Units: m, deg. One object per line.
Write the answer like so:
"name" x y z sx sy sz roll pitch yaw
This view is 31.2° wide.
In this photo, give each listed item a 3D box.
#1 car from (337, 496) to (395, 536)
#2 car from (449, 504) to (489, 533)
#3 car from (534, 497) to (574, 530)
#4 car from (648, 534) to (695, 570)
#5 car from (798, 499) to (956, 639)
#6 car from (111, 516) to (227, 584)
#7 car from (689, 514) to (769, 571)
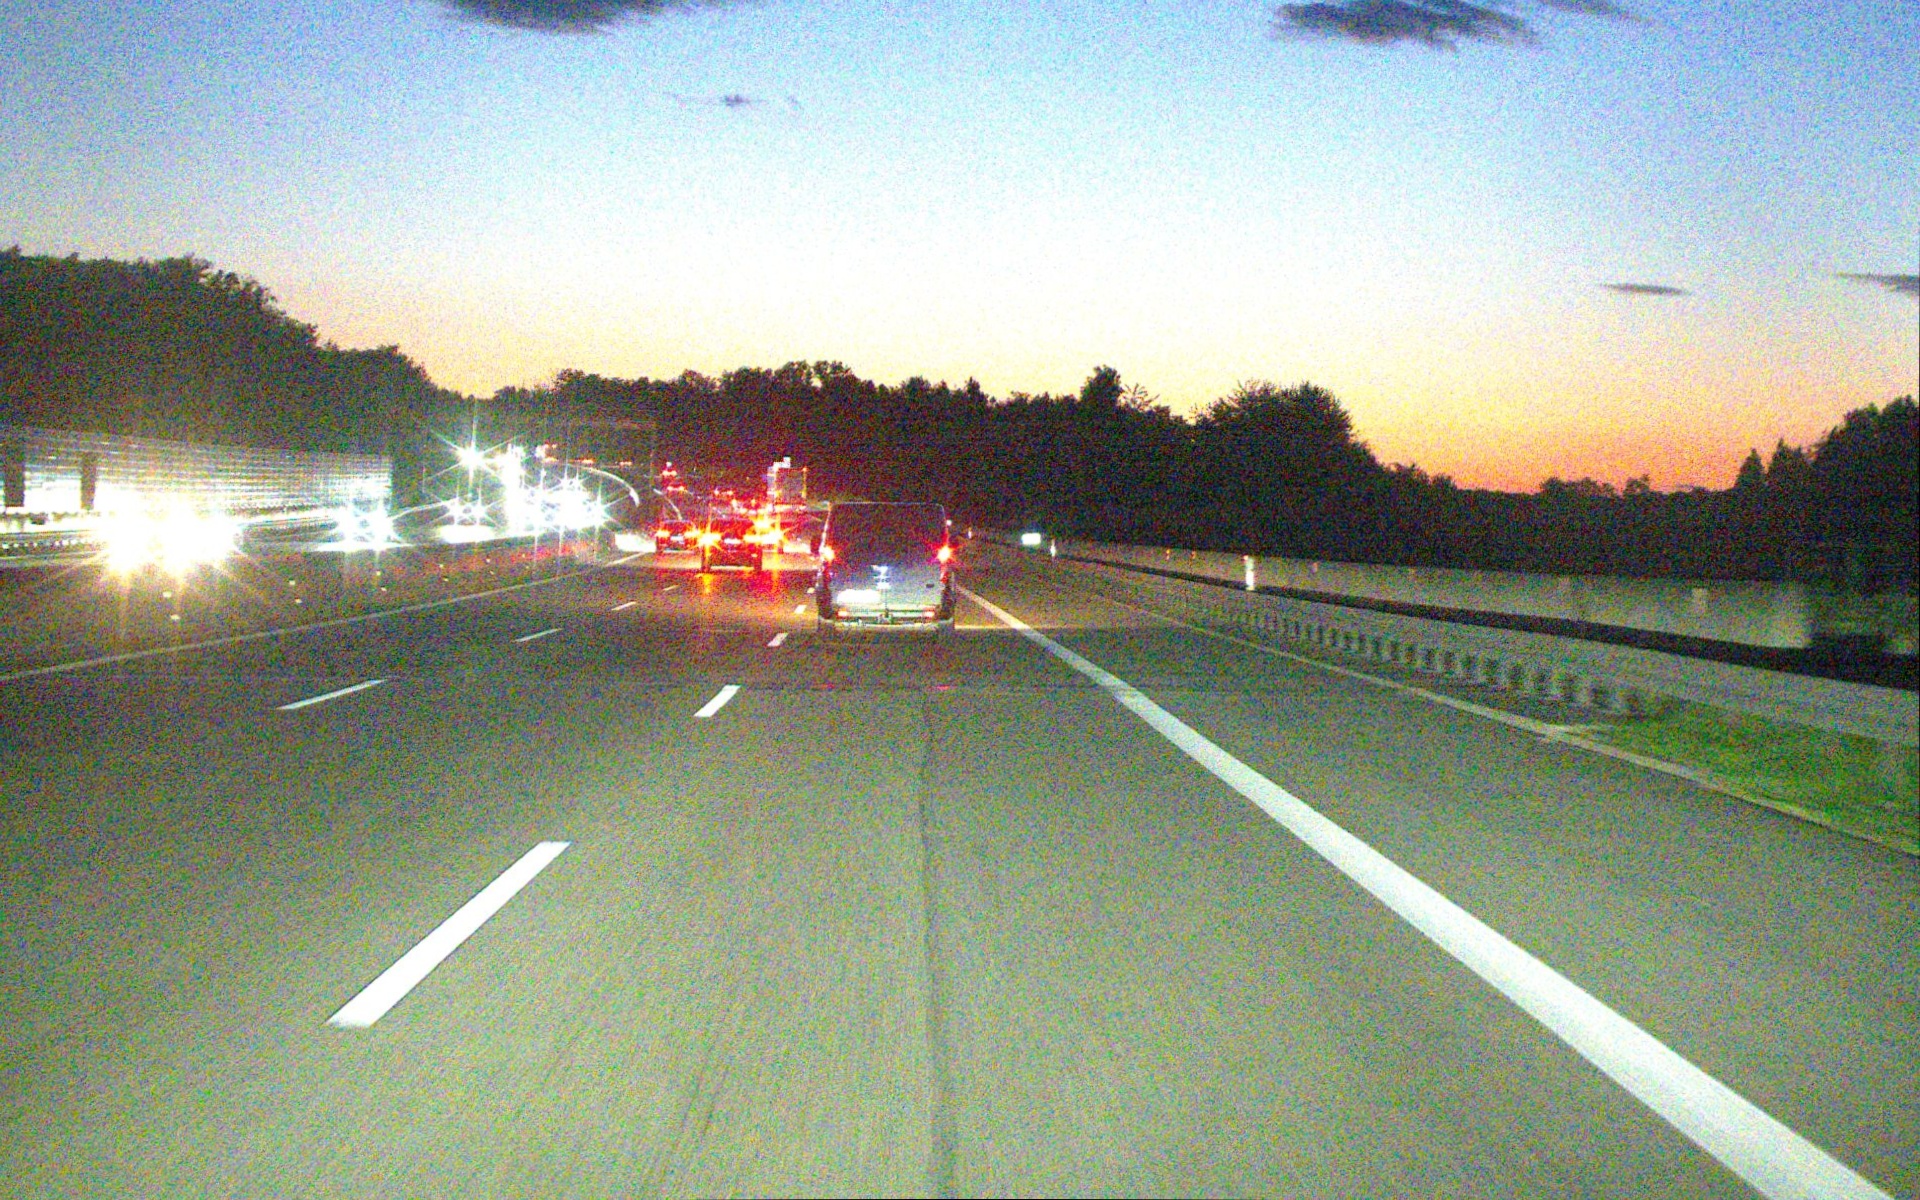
"car" -28.515 -4.000 165.056 2.104 1.783 4.651 1 0 -2
"car" -32.007 -5.305 224.279 2.104 1.783 4.651 1 0 -2
"car" -24.309 -5.172 205.935 2.104 1.783 4.651 1 0 -3
"car" -12.077 -2.006 144.178 1.549 1.426 5.514 1 0 -1
"car" -1.251 -0.472 50.376 2.196 1.949 4.764 0 1 -2
"car" -21.839 -1.355 95.045 2.104 1.783 4.651 1 0 0
"car" -7.329 -1.796 109.527 1.993 1.715 5.942 0 0 1
